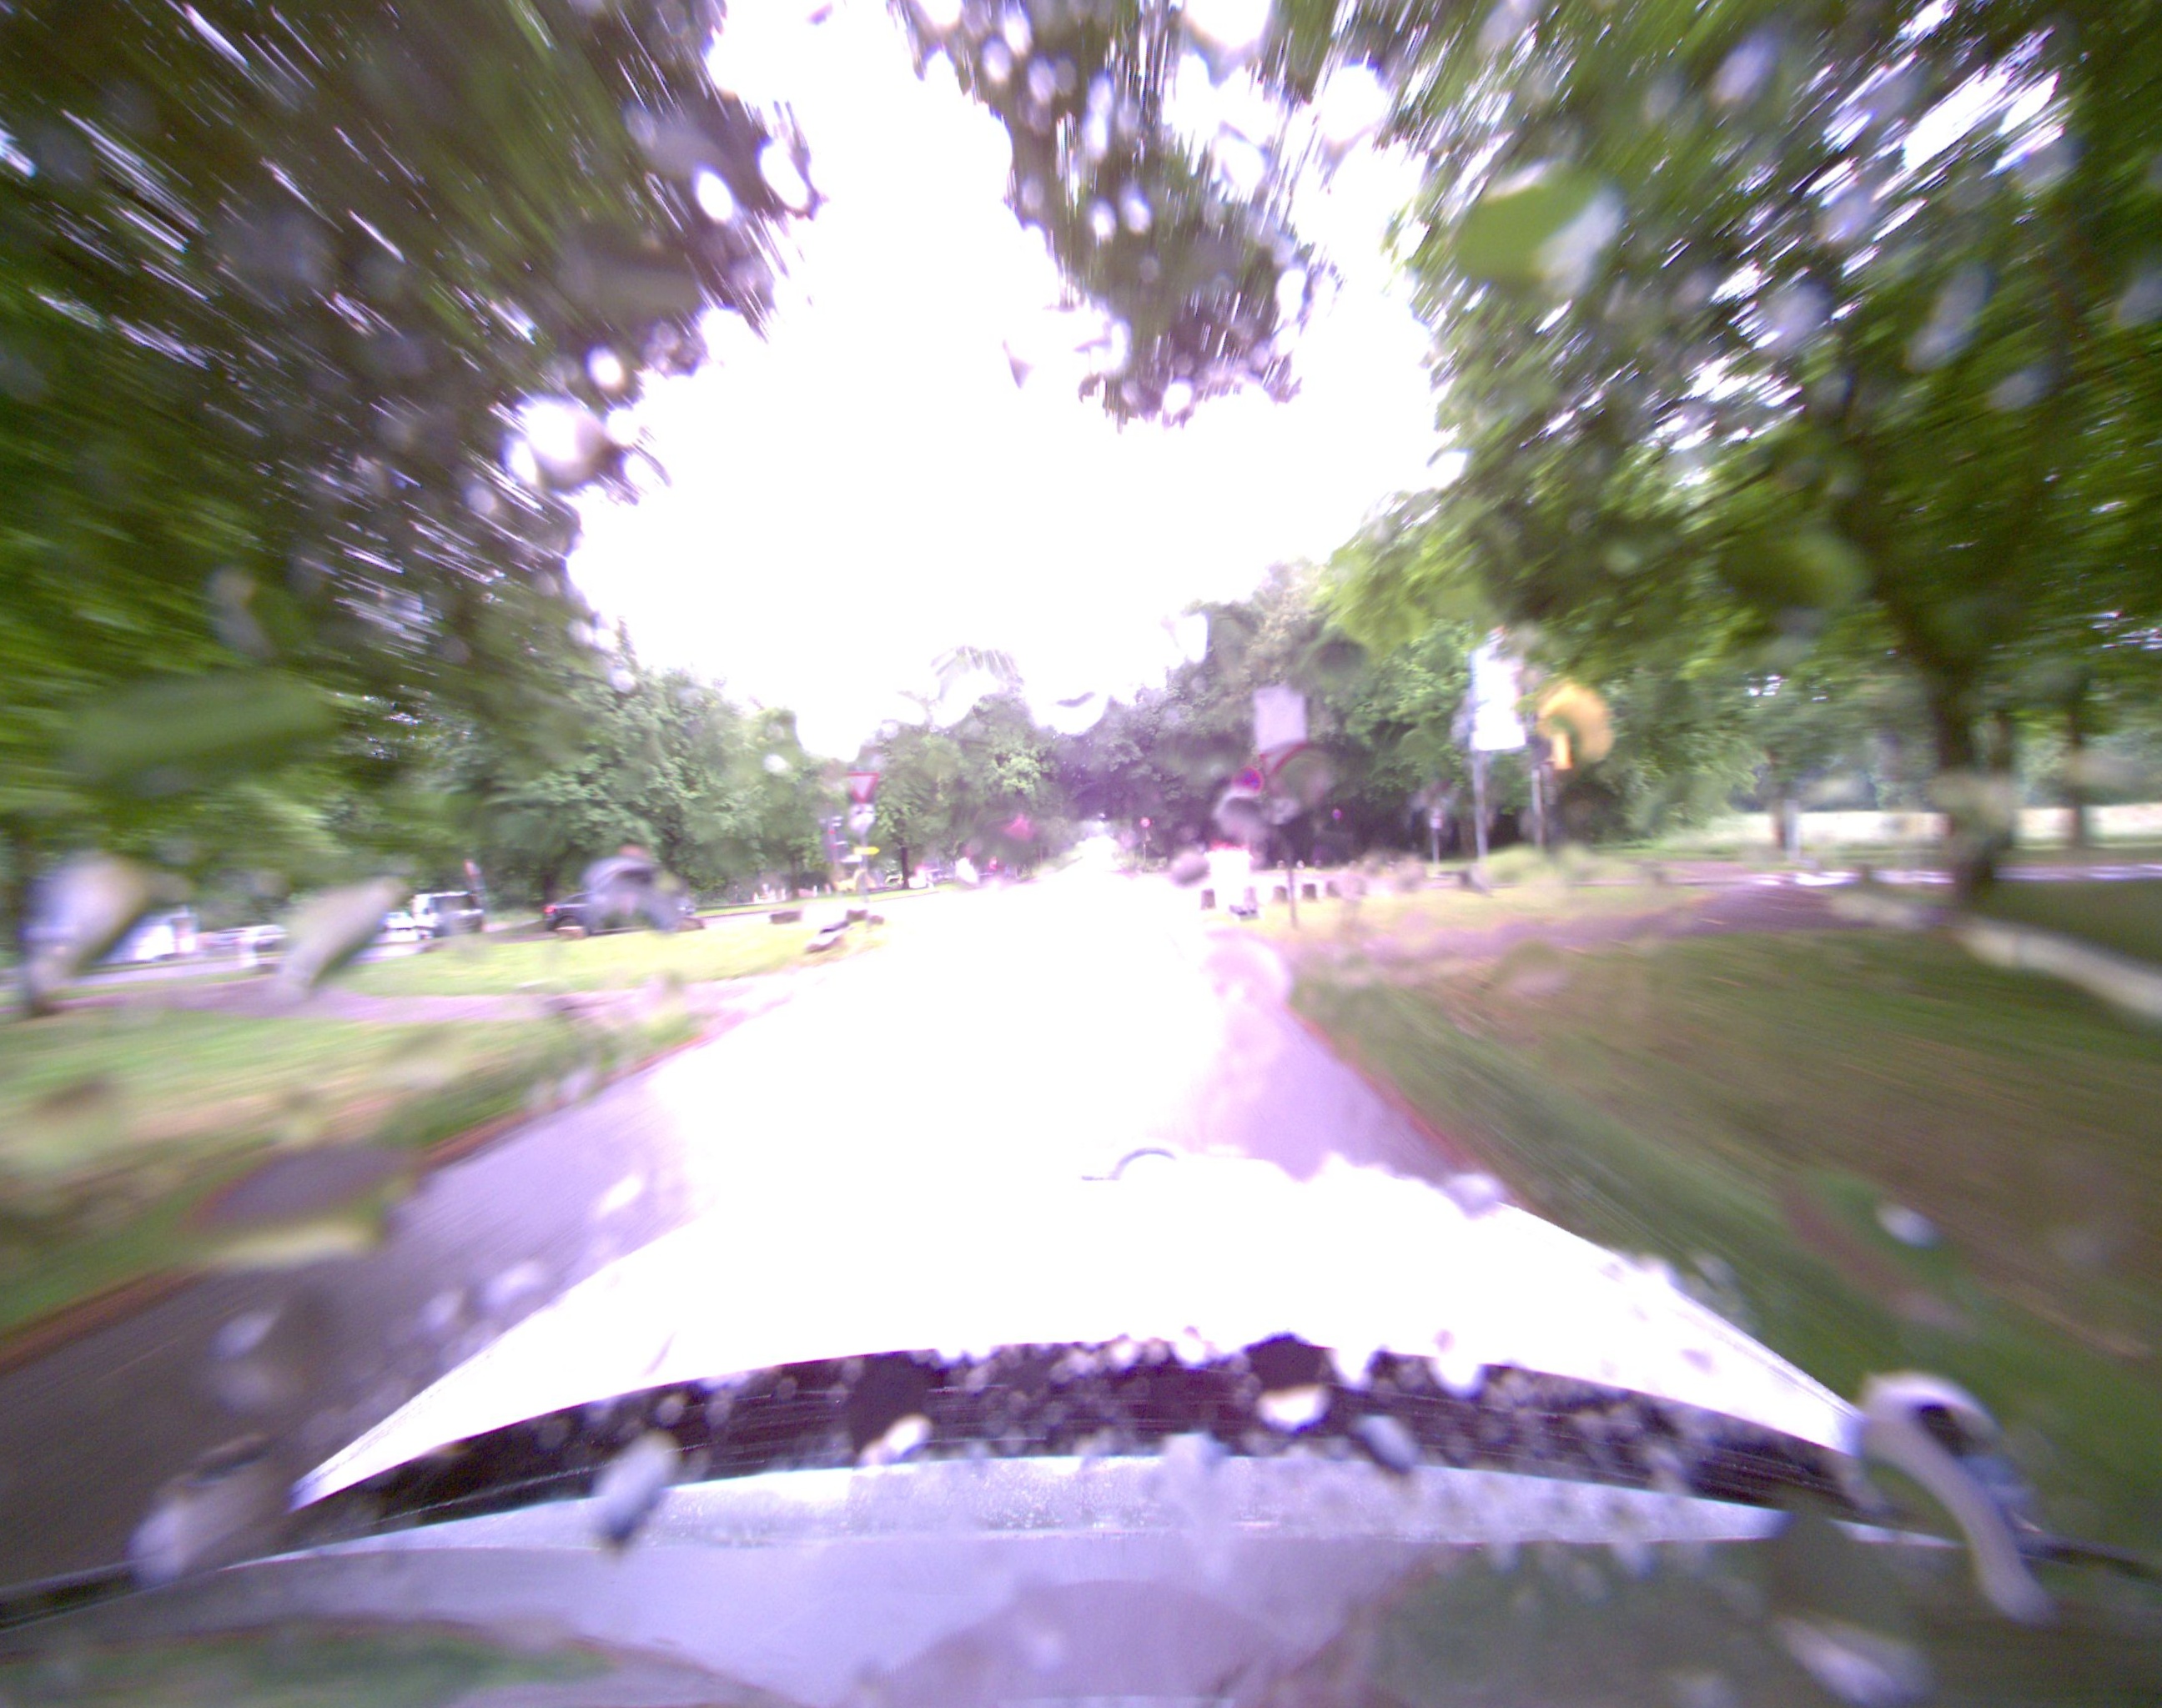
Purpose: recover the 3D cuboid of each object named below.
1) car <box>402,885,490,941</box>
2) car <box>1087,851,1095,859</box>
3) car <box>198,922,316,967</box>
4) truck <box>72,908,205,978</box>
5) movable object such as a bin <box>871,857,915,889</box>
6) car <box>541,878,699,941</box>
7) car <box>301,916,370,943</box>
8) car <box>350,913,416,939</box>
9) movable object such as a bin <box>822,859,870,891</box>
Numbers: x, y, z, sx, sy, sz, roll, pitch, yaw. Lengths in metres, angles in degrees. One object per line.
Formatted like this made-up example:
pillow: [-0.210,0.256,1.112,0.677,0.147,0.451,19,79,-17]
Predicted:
car: [-31.024,2.891,39.714,5.907,2.407,2.407,-5,-2,43]
car: [2.432,0.291,197.159,1.986,1.717,4.001,-4,0,1]
car: [-35.718,3.898,35.459,1.767,1.429,4.083,-4,0,-17]
truck: [-39.055,3.623,33.890,1.872,2.442,3.334,-4,0,-13]
movable object such as a bin: [-21.938,2.239,95.475,4.582,3.294,3.654,-4,0,-10]
car: [-16.637,1.955,29.631,4.569,1.708,1.722,-5,1,-16]
car: [-53.598,5.422,58.539,3.953,1.585,2.011,-4,0,20]
car: [-52.314,5.400,61.012,3.953,1.585,2.011,-4,0,20]
movable object such as a bin: [-26.983,2.420,93.926,4.655,3.294,3.900,-4,0,-10]
